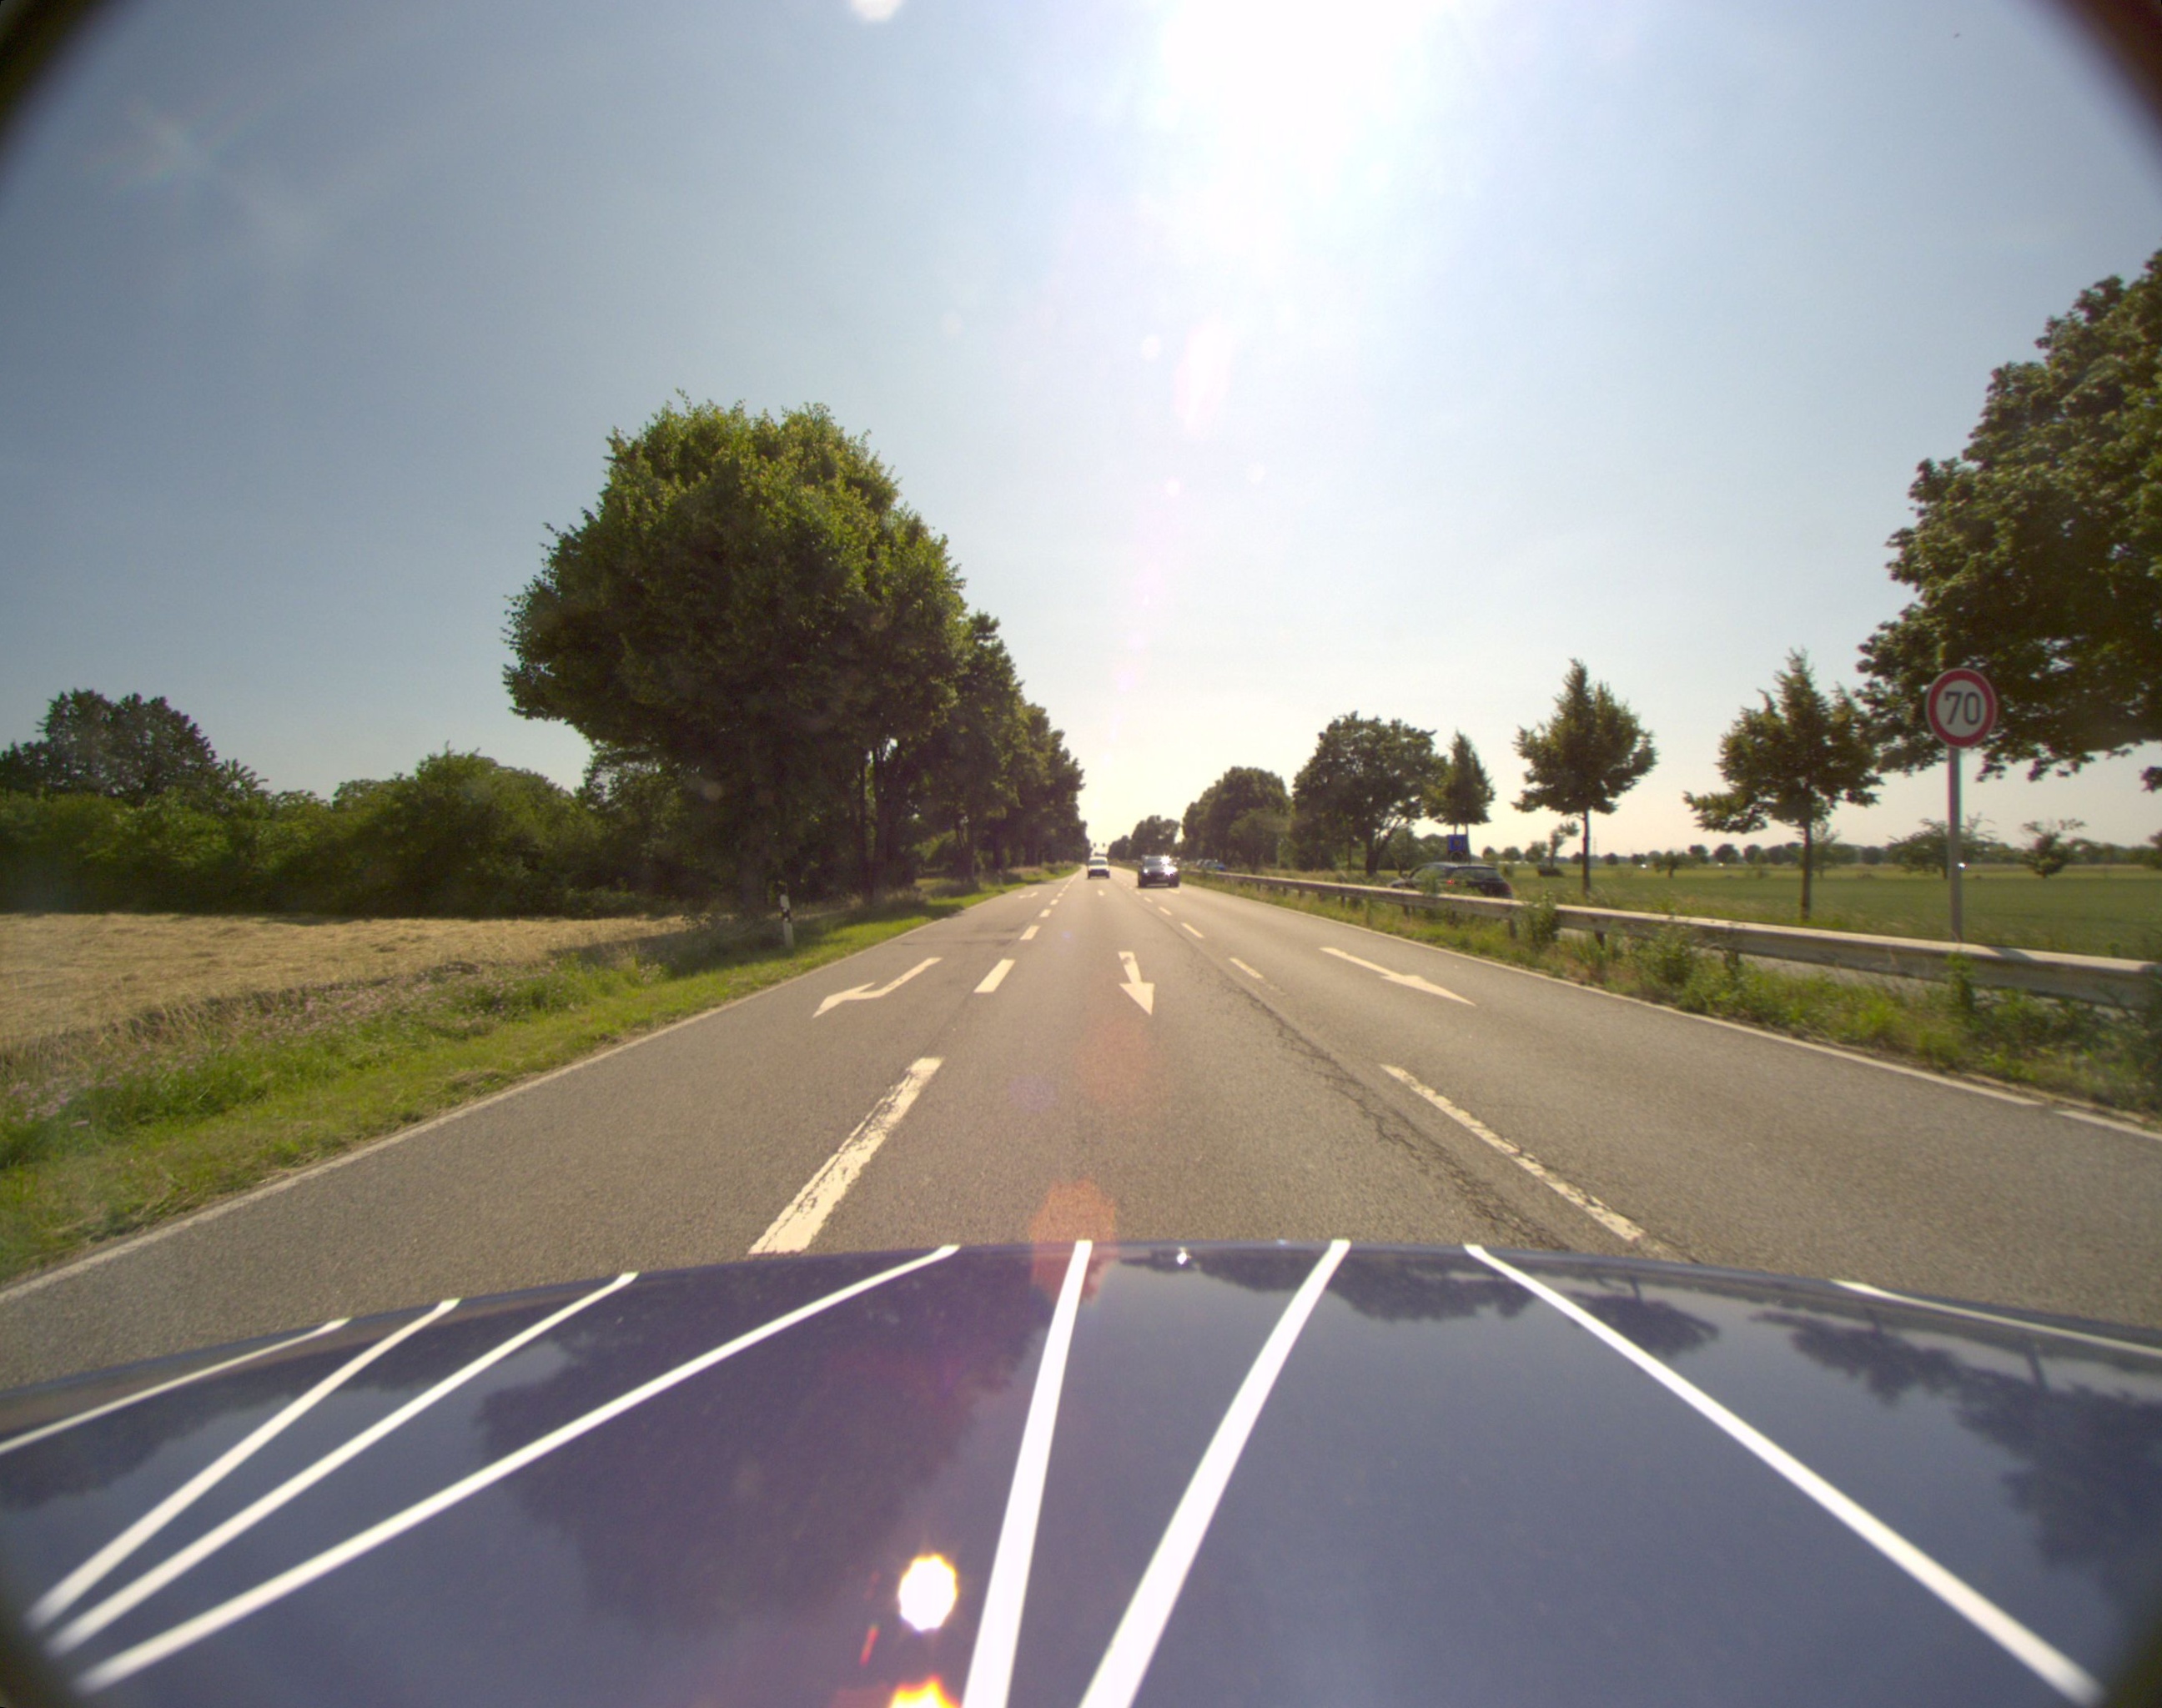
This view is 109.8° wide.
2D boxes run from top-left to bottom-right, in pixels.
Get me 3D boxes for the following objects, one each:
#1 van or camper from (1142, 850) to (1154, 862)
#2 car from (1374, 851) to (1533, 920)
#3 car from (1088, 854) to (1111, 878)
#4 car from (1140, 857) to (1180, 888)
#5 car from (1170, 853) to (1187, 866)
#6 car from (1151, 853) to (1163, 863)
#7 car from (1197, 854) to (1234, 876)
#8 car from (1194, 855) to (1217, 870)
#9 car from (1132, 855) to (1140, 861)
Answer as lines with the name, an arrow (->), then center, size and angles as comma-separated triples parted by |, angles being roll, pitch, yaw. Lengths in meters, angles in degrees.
van or camper -> 16.350, 0.454, 186.274 | 2.391, 2.931, 7.091 | 0, 0, 1
car -> 9.490, 0.739, 19.839 | 1.998, 1.594, 4.480 | 0, 0, 0
car -> 1.477, 0.941, 60.956 | 1.777, 1.863, 4.581 | 0, 0, 1
car -> 4.153, 0.955, 40.372 | 1.860, 1.507, 4.101 | -1, 0, 3
car -> 15.406, 0.885, 120.460 | 1.998, 1.949, 4.927 | 0, 0, 0
car -> 15.411, 0.715, 154.097 | 2.043, 2.002, 4.532 | 0, 0, 0
car -> 10.236, 0.818, 58.115 | 1.998, 1.653, 4.480 | 0, 0, 0
car -> 14.535, 1.007, 88.777 | 1.998, 1.653, 4.480 | -1, 0, 0
car -> 16.543, 1.188, 229.934 | 1.960, 1.581, 4.865 | 0, 0, 0
